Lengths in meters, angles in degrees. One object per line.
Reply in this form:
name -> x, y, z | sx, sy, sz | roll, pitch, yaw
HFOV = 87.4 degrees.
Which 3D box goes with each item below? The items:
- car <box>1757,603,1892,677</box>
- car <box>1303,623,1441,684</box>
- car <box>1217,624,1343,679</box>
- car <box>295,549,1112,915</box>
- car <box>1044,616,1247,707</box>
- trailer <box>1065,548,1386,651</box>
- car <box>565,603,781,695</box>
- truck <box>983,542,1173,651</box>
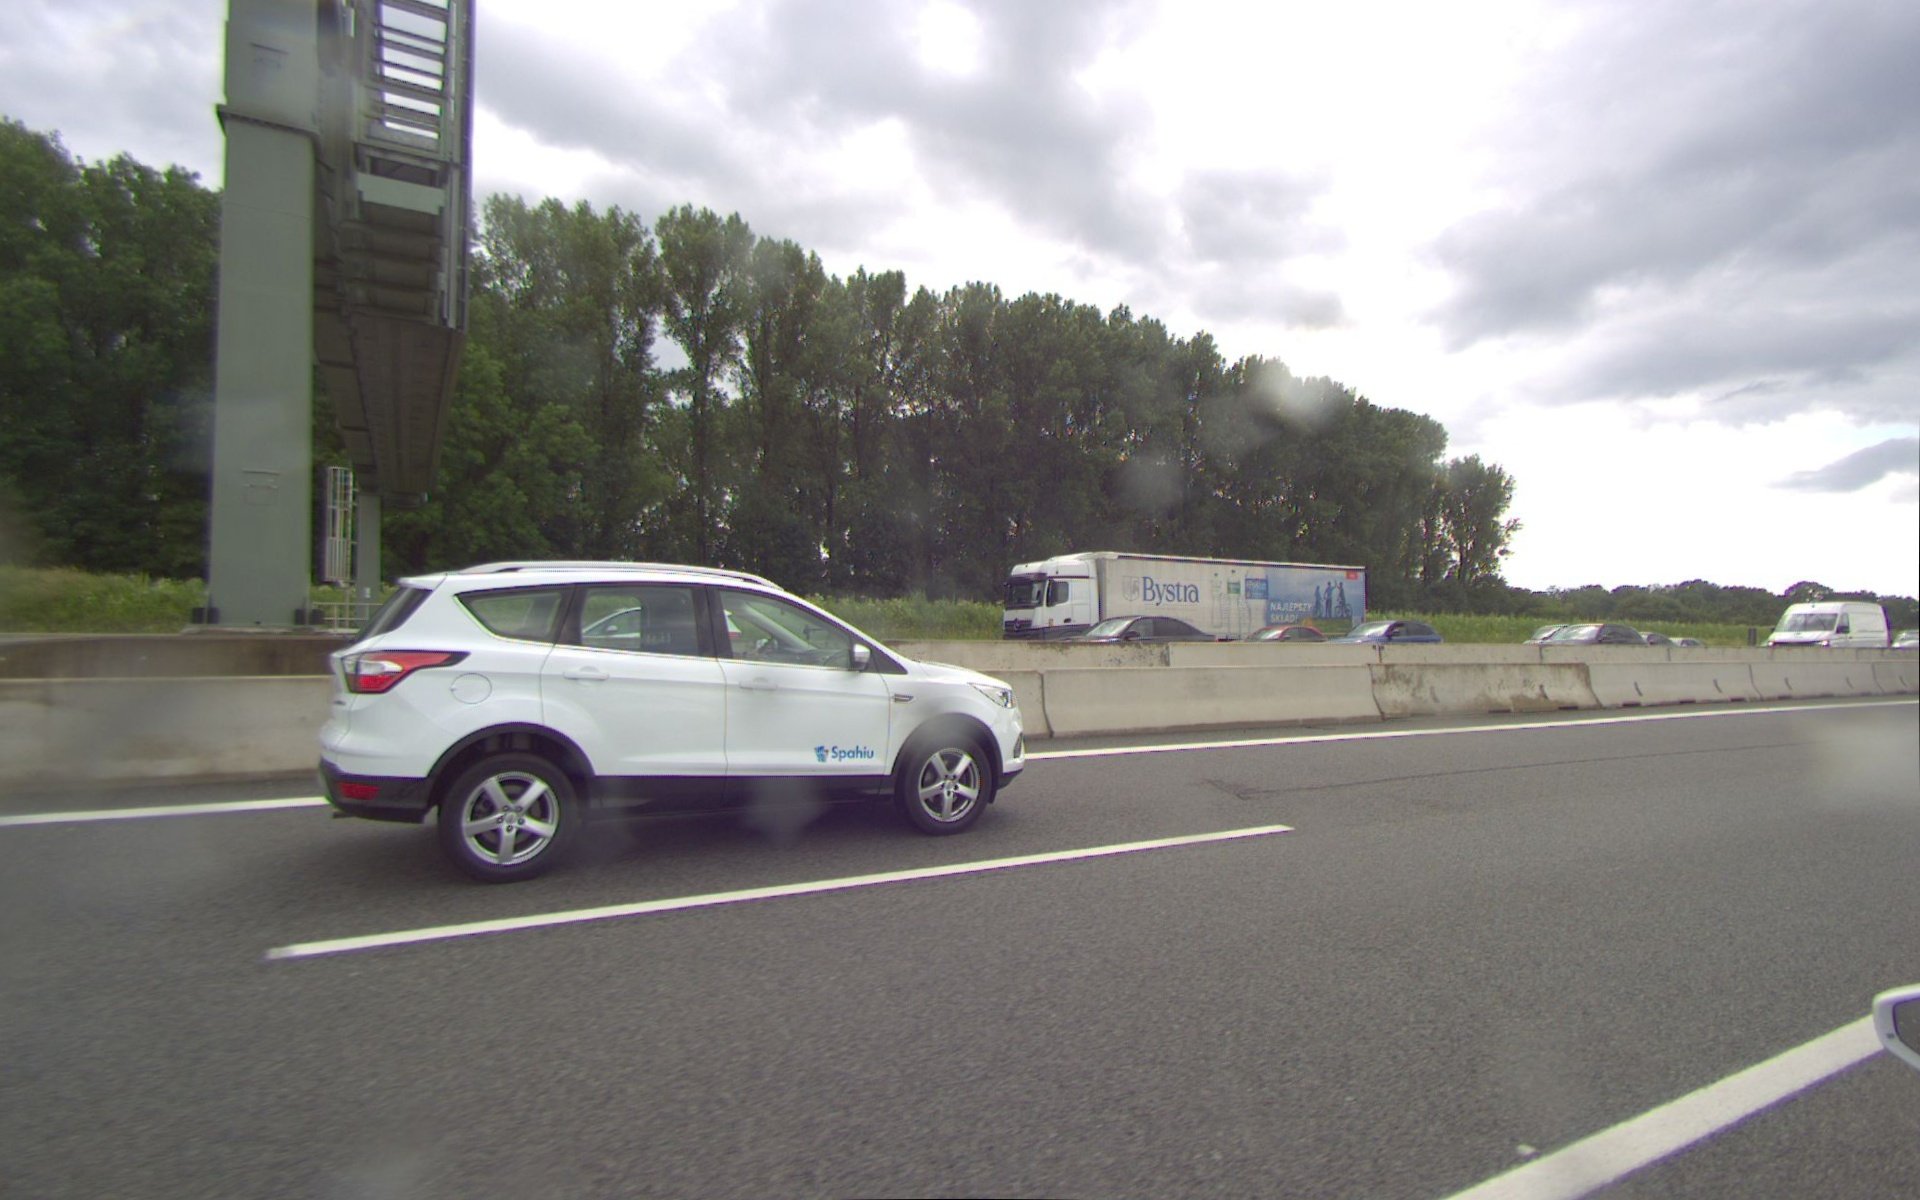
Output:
car -> 33.152, 1.535, 38.472 | 6.269, 2.650, 1.984 | 2, -1, -30
car -> 12.898, 1.646, 31.398 | 3.971, 1.750, 1.984 | 2, -1, -30
car -> 10.996, 1.746, 34.503 | 3.953, 1.728, 1.984 | 2, -1, -30
car -> -1.452, 0.674, 6.692 | 4.794, 1.712, 1.807 | 1, -1, -30
car -> 4.021, 1.281, 21.646 | 3.971, 1.750, 1.984 | 2, -1, -30
trailer -> 10.831, 0.161, 39.583 | 14.284, 3.554, 3.094 | 2, -1, -31
car -> -5.995, 0.987, 21.023 | 3.971, 1.750, 1.984 | 2, -1, -30
truck -> 4.213, -0.049, 35.701 | 6.029, 3.554, 3.120 | 2, -1, -30
